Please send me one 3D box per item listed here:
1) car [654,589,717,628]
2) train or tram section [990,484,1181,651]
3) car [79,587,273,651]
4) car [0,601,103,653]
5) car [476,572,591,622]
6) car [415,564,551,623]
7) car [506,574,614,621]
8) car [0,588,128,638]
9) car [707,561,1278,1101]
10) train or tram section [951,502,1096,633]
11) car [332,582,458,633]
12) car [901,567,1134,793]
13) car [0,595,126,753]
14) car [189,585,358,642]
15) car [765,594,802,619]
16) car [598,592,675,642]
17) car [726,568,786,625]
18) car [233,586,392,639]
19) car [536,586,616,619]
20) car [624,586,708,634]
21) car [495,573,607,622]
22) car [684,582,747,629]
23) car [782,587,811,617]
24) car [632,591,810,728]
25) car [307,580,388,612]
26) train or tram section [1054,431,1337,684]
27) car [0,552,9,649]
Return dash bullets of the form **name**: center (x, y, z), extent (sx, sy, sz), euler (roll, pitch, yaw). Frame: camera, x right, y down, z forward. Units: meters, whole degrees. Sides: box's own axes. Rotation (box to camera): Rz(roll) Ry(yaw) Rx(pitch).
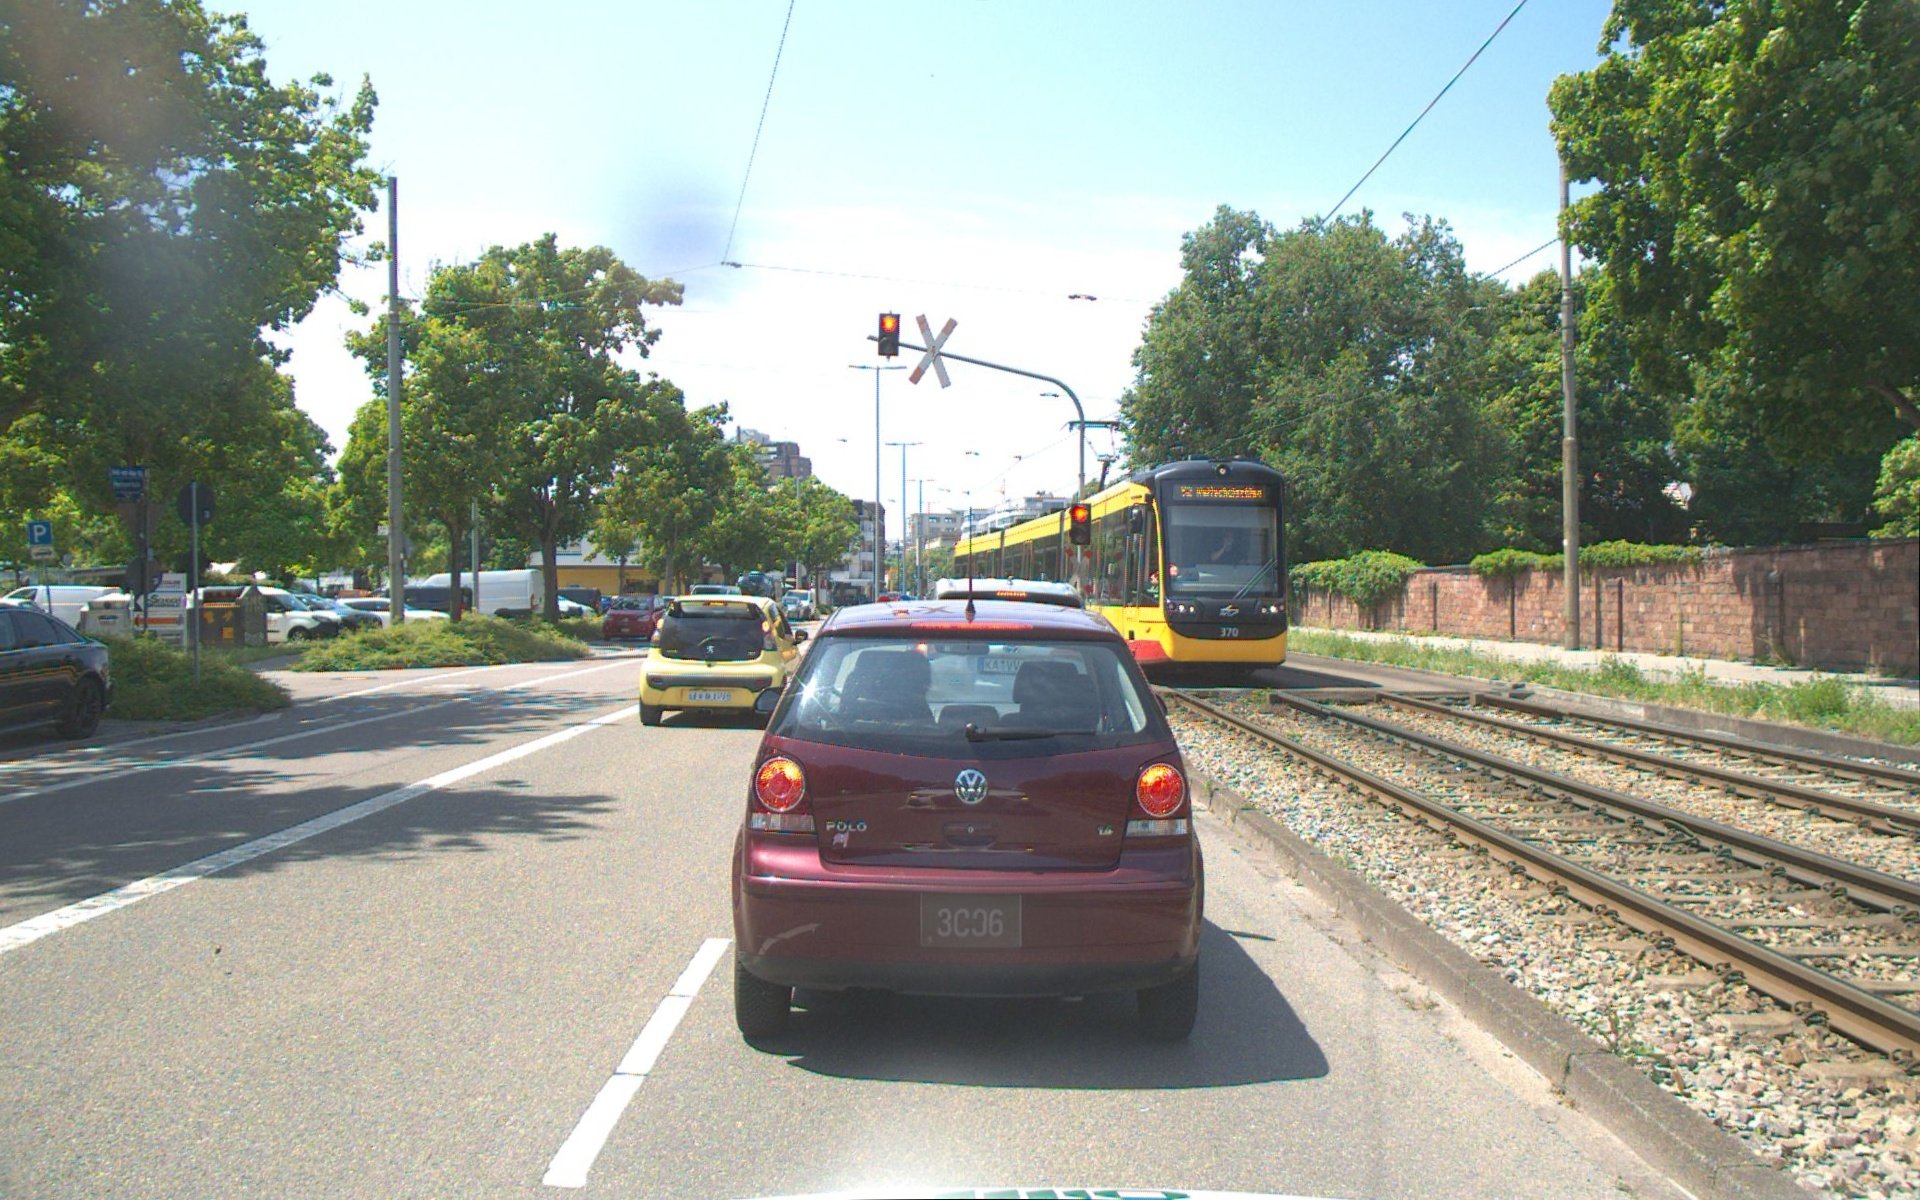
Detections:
- **car**: center (-10.835, 0.345, 65.554), extent (1.581, 1.466, 4.001), euler (2, -1, 3)
- **train or tram section**: center (2.931, -0.787, 42.608), extent (2.689, 3.672, 10.933), euler (2, 0, -7)
- **car**: center (-20.937, 0.491, 44.320), extent (4.256, 1.612, 1.912), euler (-1, 0, -3)
- **car**: center (-32.478, 0.938, 57.936), extent (3.913, 1.682, 1.812), euler (2, -1, -9)
- **car**: center (-21.077, -0.151, 81.929), extent (4.993, 2.283, 2.378), euler (2, -1, 0)
- **car**: center (-20.323, -0.254, 70.610), extent (4.993, 2.283, 2.378), euler (2, -1, 0)
- **car**: center (-21.018, -0.103, 87.061), extent (4.993, 2.283, 2.378), euler (2, -1, 0)
- **car**: center (-32.814, 0.477, 60.359), extent (3.913, 1.682, 1.812), euler (2, -1, -9)
- **car**: center (0.050, 0.670, 6.853), extent (1.638, 1.548, 3.999), euler (2, 0, -2)
- **train or tram section**: center (1.816, -1.002, 53.129), extent (2.689, 3.672, 10.930), euler (2, 0, -8)
- **car**: center (-20.516, 0.263, 60.169), extent (3.906, 1.776, 1.998), euler (-1, 0, -2)
- **car**: center (0.387, 0.600, 14.626), extent (1.741, 1.676, 3.999), euler (2, 0, -2)
- **car**: center (-10.304, 0.729, 16.472), extent (1.782, 1.502, 4.448), euler (2, 0, -1)
- **car**: center (-20.452, 0.394, 49.358), extent (4.251, 1.612, 1.914), euler (0, 0, 5)
- **car**: center (-10.796, 0.399, 101.254), extent (1.581, 1.466, 4.001), euler (2, -1, 3)
- **car**: center (-10.548, 0.545, 54.219), extent (1.628, 1.523, 4.000), euler (2, -1, 1)
- **car**: center (-10.313, -0.131, 84.057), extent (2.313, 2.739, 5.307), euler (2, -1, 0)
- **car**: center (-20.374, 0.375, 52.138), extent (4.251, 1.612, 1.914), euler (0, 0, 5)
- **car**: center (-21.202, 0.136, 91.400), extent (3.938, 1.645, 1.816), euler (2, -1, 0)
- **car**: center (-10.742, 0.385, 60.766), extent (1.934, 1.629, 4.560), euler (2, -1, 4)
- **car**: center (-20.840, -0.121, 84.405), extent (4.993, 2.283, 2.378), euler (2, -1, 0)
- **car**: center (-10.455, 0.244, 71.010), extent (1.746, 1.914, 4.787), euler (2, -1, 2)
- **car**: center (-10.599, 0.141, 107.333), extent (1.741, 1.860, 3.995), euler (2, -1, -6)
- **car**: center (-2.752, 0.638, 19.686), extent (1.656, 1.435, 3.514), euler (2, 0, -2)
- **car**: center (-35.333, -0.219, 95.426), extent (3.939, 1.645, 1.816), euler (2, -1, -2)
- **train or tram section**: center (3.874, -0.686, 31.060), extent (2.686, 3.672, 12.862), euler (2, 0, -3)
- **car**: center (-33.109, -0.116, 50.379), extent (6.714, 3.017, 2.363), euler (2, -1, -2)
